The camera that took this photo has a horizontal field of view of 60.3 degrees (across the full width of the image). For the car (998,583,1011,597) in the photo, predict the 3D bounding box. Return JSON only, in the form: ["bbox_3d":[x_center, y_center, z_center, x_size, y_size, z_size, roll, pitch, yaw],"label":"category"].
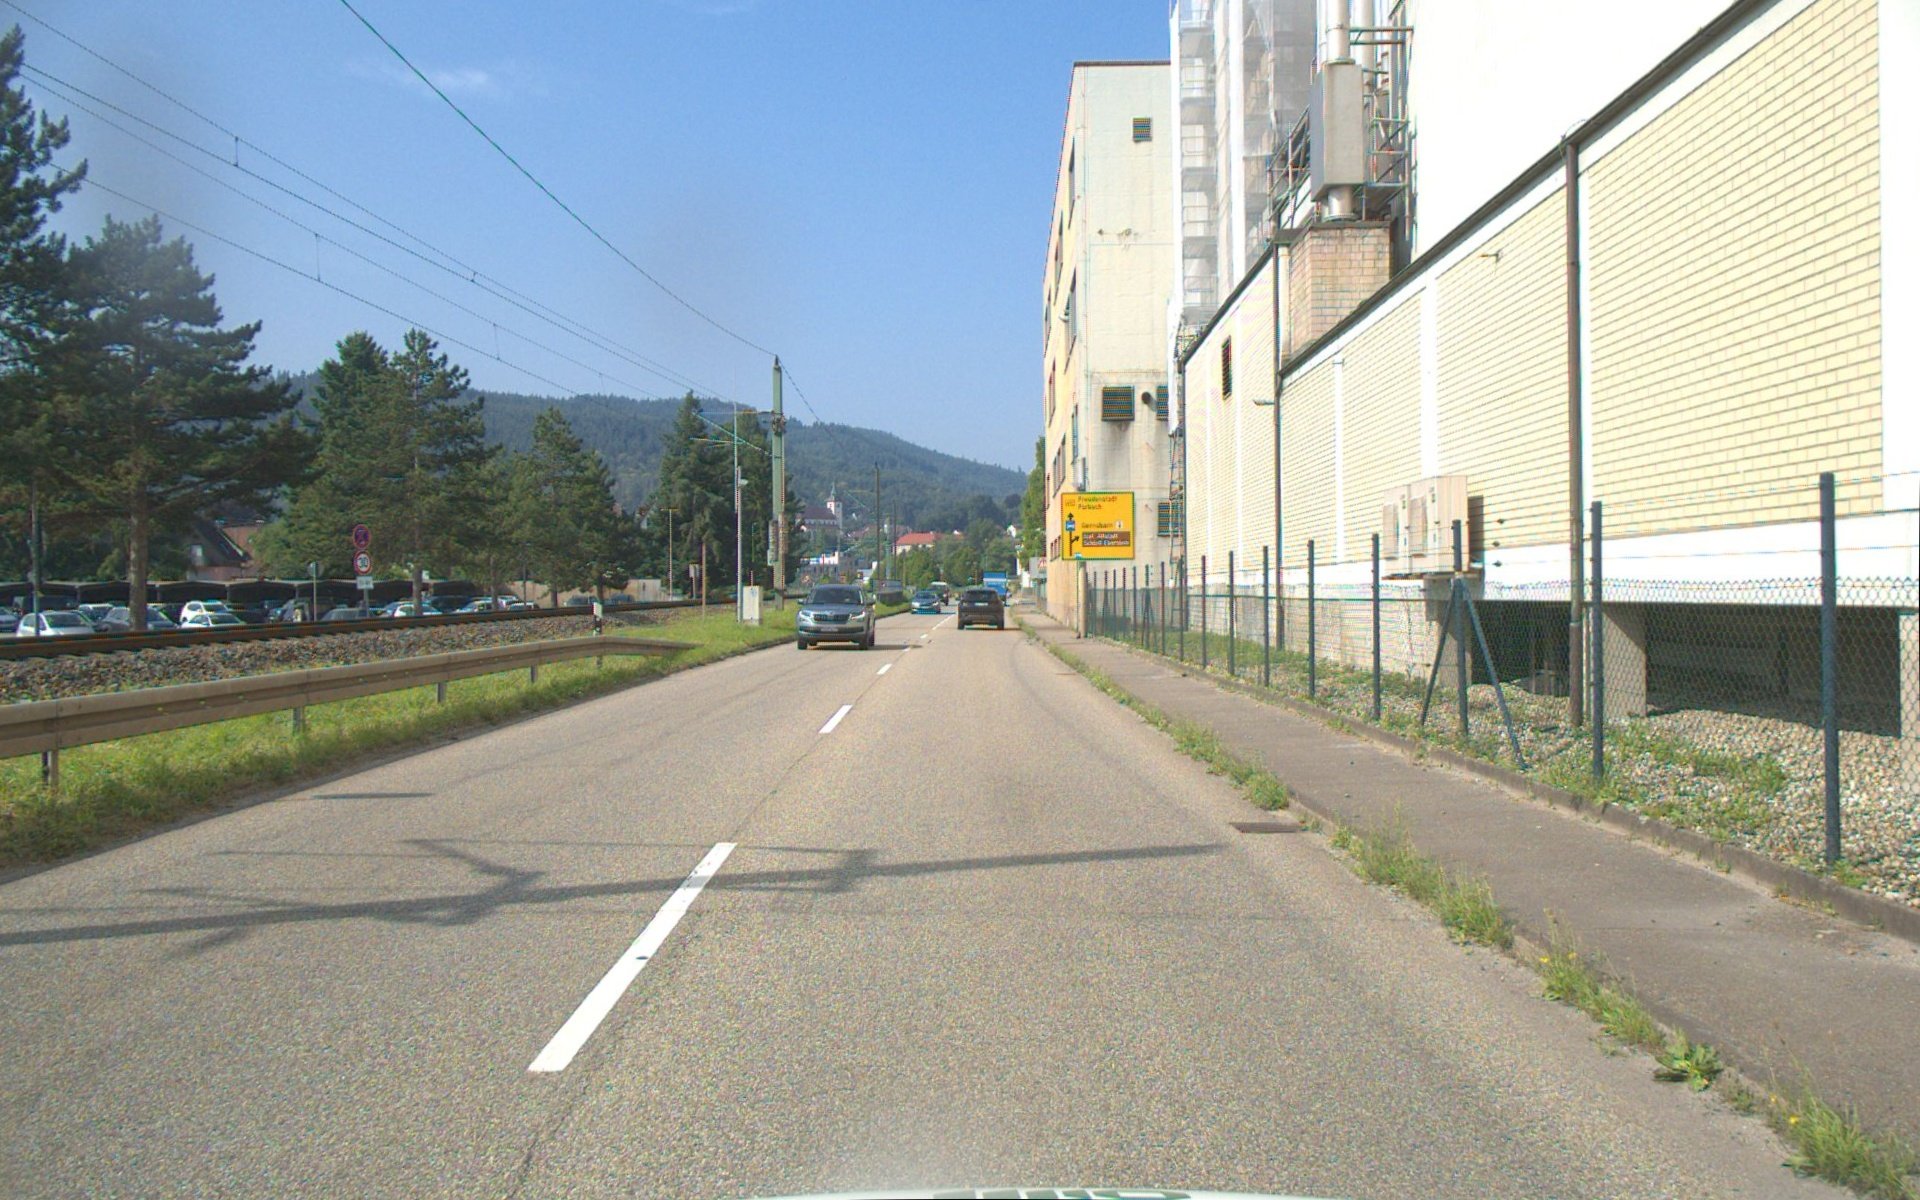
[{"bbox_3d":[6.013,-1.334,222.708,1.632,1.854,3.752,0,0,2],"label":"car"}]

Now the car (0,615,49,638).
[{"bbox_3d":[-58.107,1.617,102.111,3.453,1.348,1.457,-1,0,22],"label":"car"}]

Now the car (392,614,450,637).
[{"bbox_3d":[-32.166,1.516,98.702,3.463,1.348,1.453,-1,0,34],"label":"car"}]

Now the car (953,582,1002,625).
[{"bbox_3d":[0.729,0.116,66.167,1.880,1.668,4.001,0,0,1],"label":"car"}]

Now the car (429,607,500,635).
[{"bbox_3d":[-31.680,1.305,105.765,3.948,1.668,1.978,-1,0,-32],"label":"car"}]

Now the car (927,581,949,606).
[{"bbox_3d":[-1.933,-0.583,147.570,1.722,2.114,4.809,1,0,2],"label":"car"}]

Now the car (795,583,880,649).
[{"bbox_3d":[-3.159,0.396,43.326,1.867,1.628,4.570,0,0,0],"label":"car"}]

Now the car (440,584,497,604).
[{"bbox_3d":[-37.521,-0.461,126.228,3.912,1.563,1.815,0,0,-8],"label":"car"}]

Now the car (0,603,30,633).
[{"bbox_3d":[-55.454,1.063,94.973,3.917,1.668,1.994,-1,0,34],"label":"car"}]

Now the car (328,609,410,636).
[{"bbox_3d":[-31.054,1.177,86.980,1.535,1.348,3.839,-1,0,39],"label":"car"}]

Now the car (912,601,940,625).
[{"bbox_3d":[-2.177,0.814,106.841,1.732,1.430,4.296,-1,0,-1],"label":"car"}]

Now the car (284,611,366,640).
[{"bbox_3d":[-31.721,1.261,82.657,1.494,1.381,3.496,-1,0,44],"label":"car"}]

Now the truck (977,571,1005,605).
[{"bbox_3d":[2.776,-1.100,149.747,2.265,3.022,5.964,-1,1,-1],"label":"truck"}]

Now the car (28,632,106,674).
[{"bbox_3d":[-33.429,1.951,61.880,1.674,1.469,3.792,-1,0,-43],"label":"car"}]

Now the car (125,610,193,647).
[{"bbox_3d":[-35.325,1.245,72.893,1.674,1.533,3.792,-1,0,-43],"label":"car"}]
